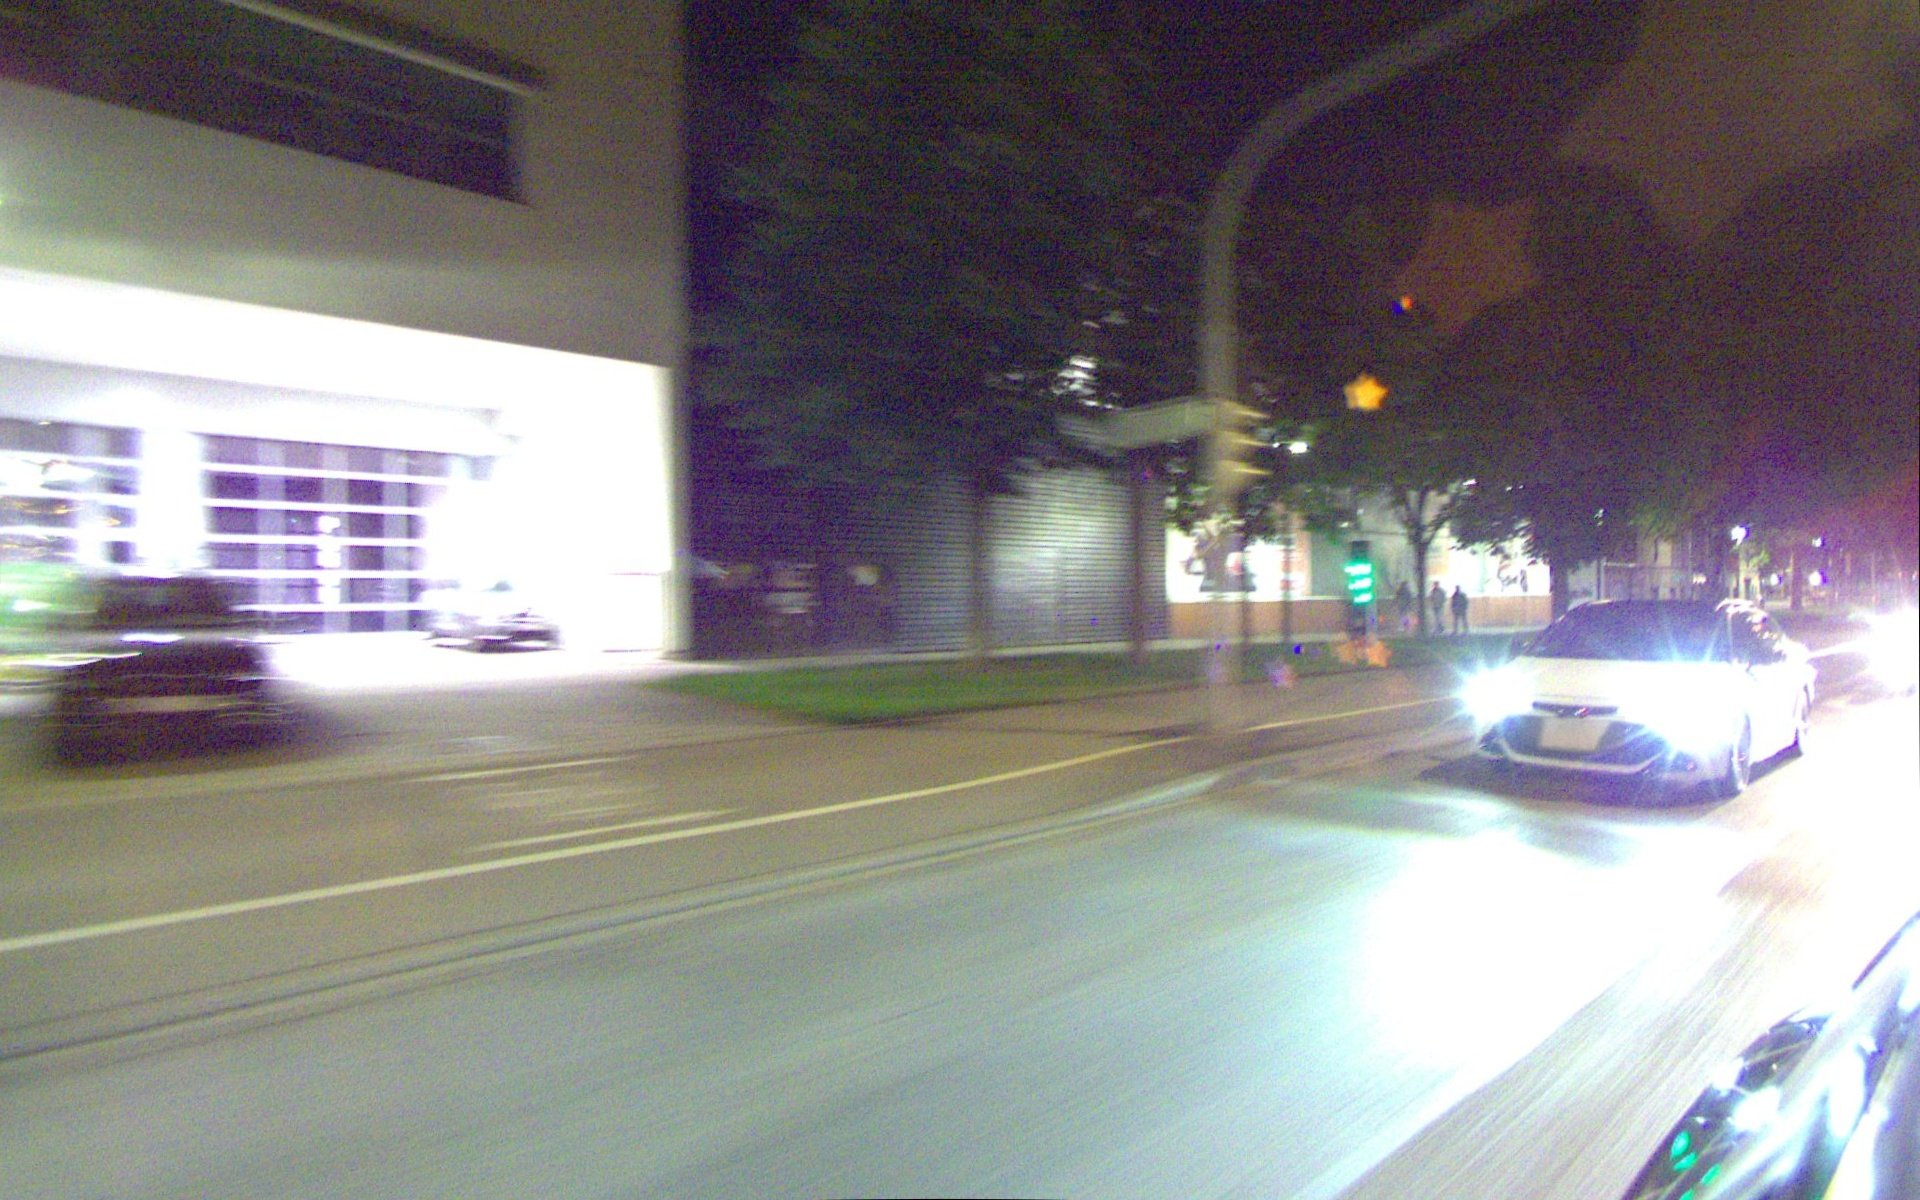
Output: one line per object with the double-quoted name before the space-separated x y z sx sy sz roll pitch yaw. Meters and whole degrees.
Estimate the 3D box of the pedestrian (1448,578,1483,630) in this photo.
"pedestrian" 17.289 0.122 34.584 0.968 1.738 0.736 0 1 -41

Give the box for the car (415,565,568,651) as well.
"car" -9.682 0.115 20.778 1.687 1.585 3.954 -1 1 -43

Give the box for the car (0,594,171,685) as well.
"car" -13.125 0.524 13.940 3.479 1.183 1.459 -1 1 -42

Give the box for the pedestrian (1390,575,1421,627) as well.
"pedestrian" 15.892 0.026 36.083 0.890 1.839 0.675 0 1 -41

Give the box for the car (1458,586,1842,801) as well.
"car" 6.235 0.626 8.926 4.420 1.448 1.727 0 -1 -41

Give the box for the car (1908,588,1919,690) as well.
"car" 15.666 0.542 15.305 3.774 1.456 1.632 -1 0 -42

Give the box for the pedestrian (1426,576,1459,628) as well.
"pedestrian" 16.865 0.061 35.364 0.953 1.811 0.720 0 1 -41

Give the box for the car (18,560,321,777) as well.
"car" -7.068 0.414 8.992 1.756 1.472 4.088 -1 1 -41
